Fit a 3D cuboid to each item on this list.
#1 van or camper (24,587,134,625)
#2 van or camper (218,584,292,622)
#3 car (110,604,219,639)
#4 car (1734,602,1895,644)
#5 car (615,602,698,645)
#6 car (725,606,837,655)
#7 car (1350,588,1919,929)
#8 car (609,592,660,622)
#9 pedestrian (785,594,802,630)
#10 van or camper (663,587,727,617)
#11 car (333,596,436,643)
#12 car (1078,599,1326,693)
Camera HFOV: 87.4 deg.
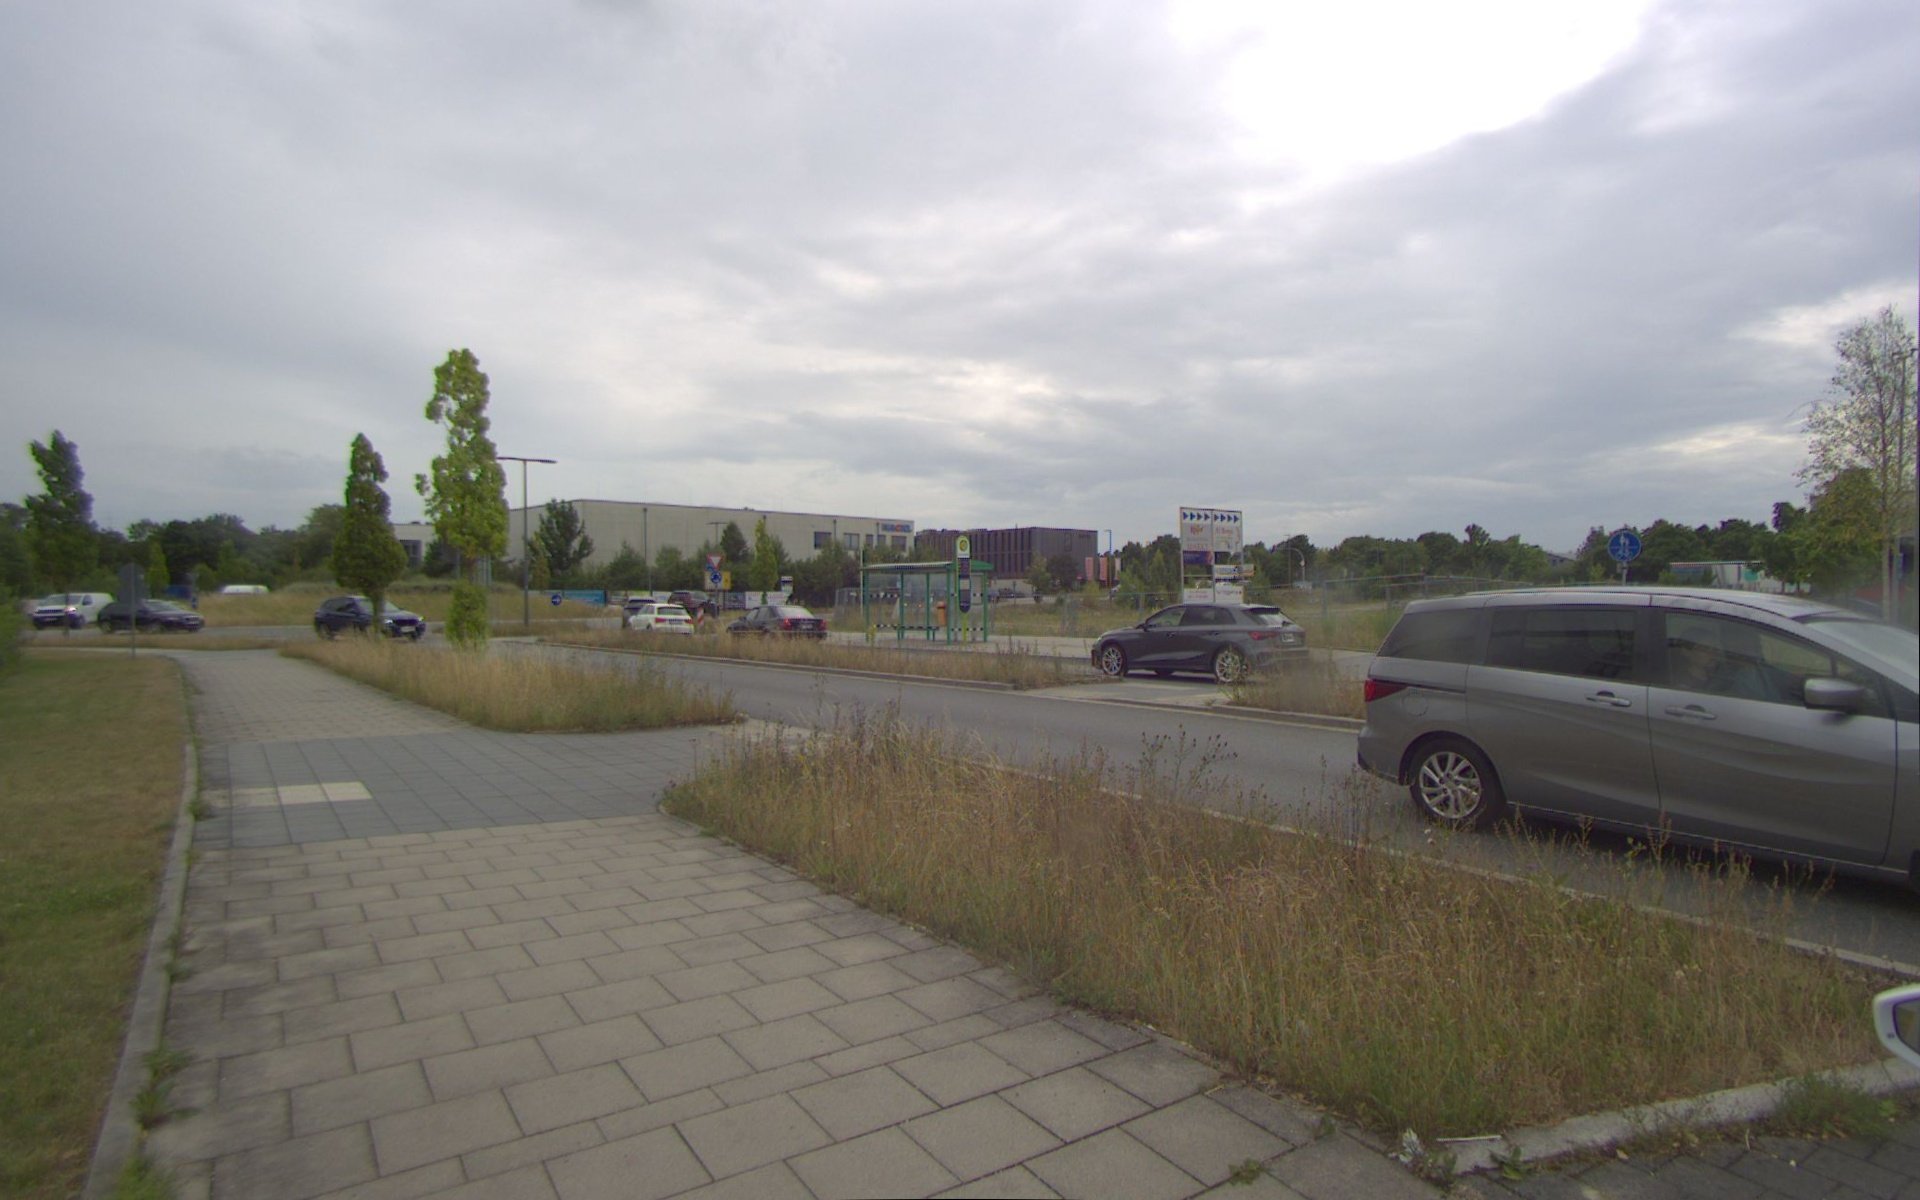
[{"bbox_3d":[-47.224,0.285,53.975,1.946,1.916,4.837,-1,0,-6],"label":"van or camper"},{"bbox_3d":[-50.179,0.165,71.619,1.963,2.617,5.459,1,1,-7],"label":"van or camper"},{"bbox_3d":[-33.452,0.886,42.310,3.234,1.372,1.557,0,1,-10],"label":"car"},{"bbox_3d":[36.417,0.927,42.925,1.984,1.578,4.965,0,1,-40],"label":"car"},{"bbox_3d":[-11.993,0.883,39.572,1.744,1.500,4.009,0,1,-40],"label":"car"},{"bbox_3d":[-5.803,0.932,32.235,1.775,1.414,4.324,1,0,-38],"label":"car"},{"bbox_3d":[4.797,0.745,6.025,1.802,1.584,4.360,-2,1,-34],"label":"car"},{"bbox_3d":[-15.580,0.296,47.927,1.696,1.361,4.035,0,1,-27],"label":"car"},{"bbox_3d":[-8.028,0.579,48.398,0.729,1.745,0.650,1,1,-4],"label":"pedestrian"},{"bbox_3d":[-16.578,0.078,63.050,1.959,1.772,4.574,1,1,12],"label":"van or camper"},{"bbox_3d":[-21.648,0.701,37.778,3.934,1.662,1.888,0,1,35],"label":"car"},{"bbox_3d":[4.390,0.751,18.711,1.784,1.486,4.267,-1,1,-42],"label":"car"}]
